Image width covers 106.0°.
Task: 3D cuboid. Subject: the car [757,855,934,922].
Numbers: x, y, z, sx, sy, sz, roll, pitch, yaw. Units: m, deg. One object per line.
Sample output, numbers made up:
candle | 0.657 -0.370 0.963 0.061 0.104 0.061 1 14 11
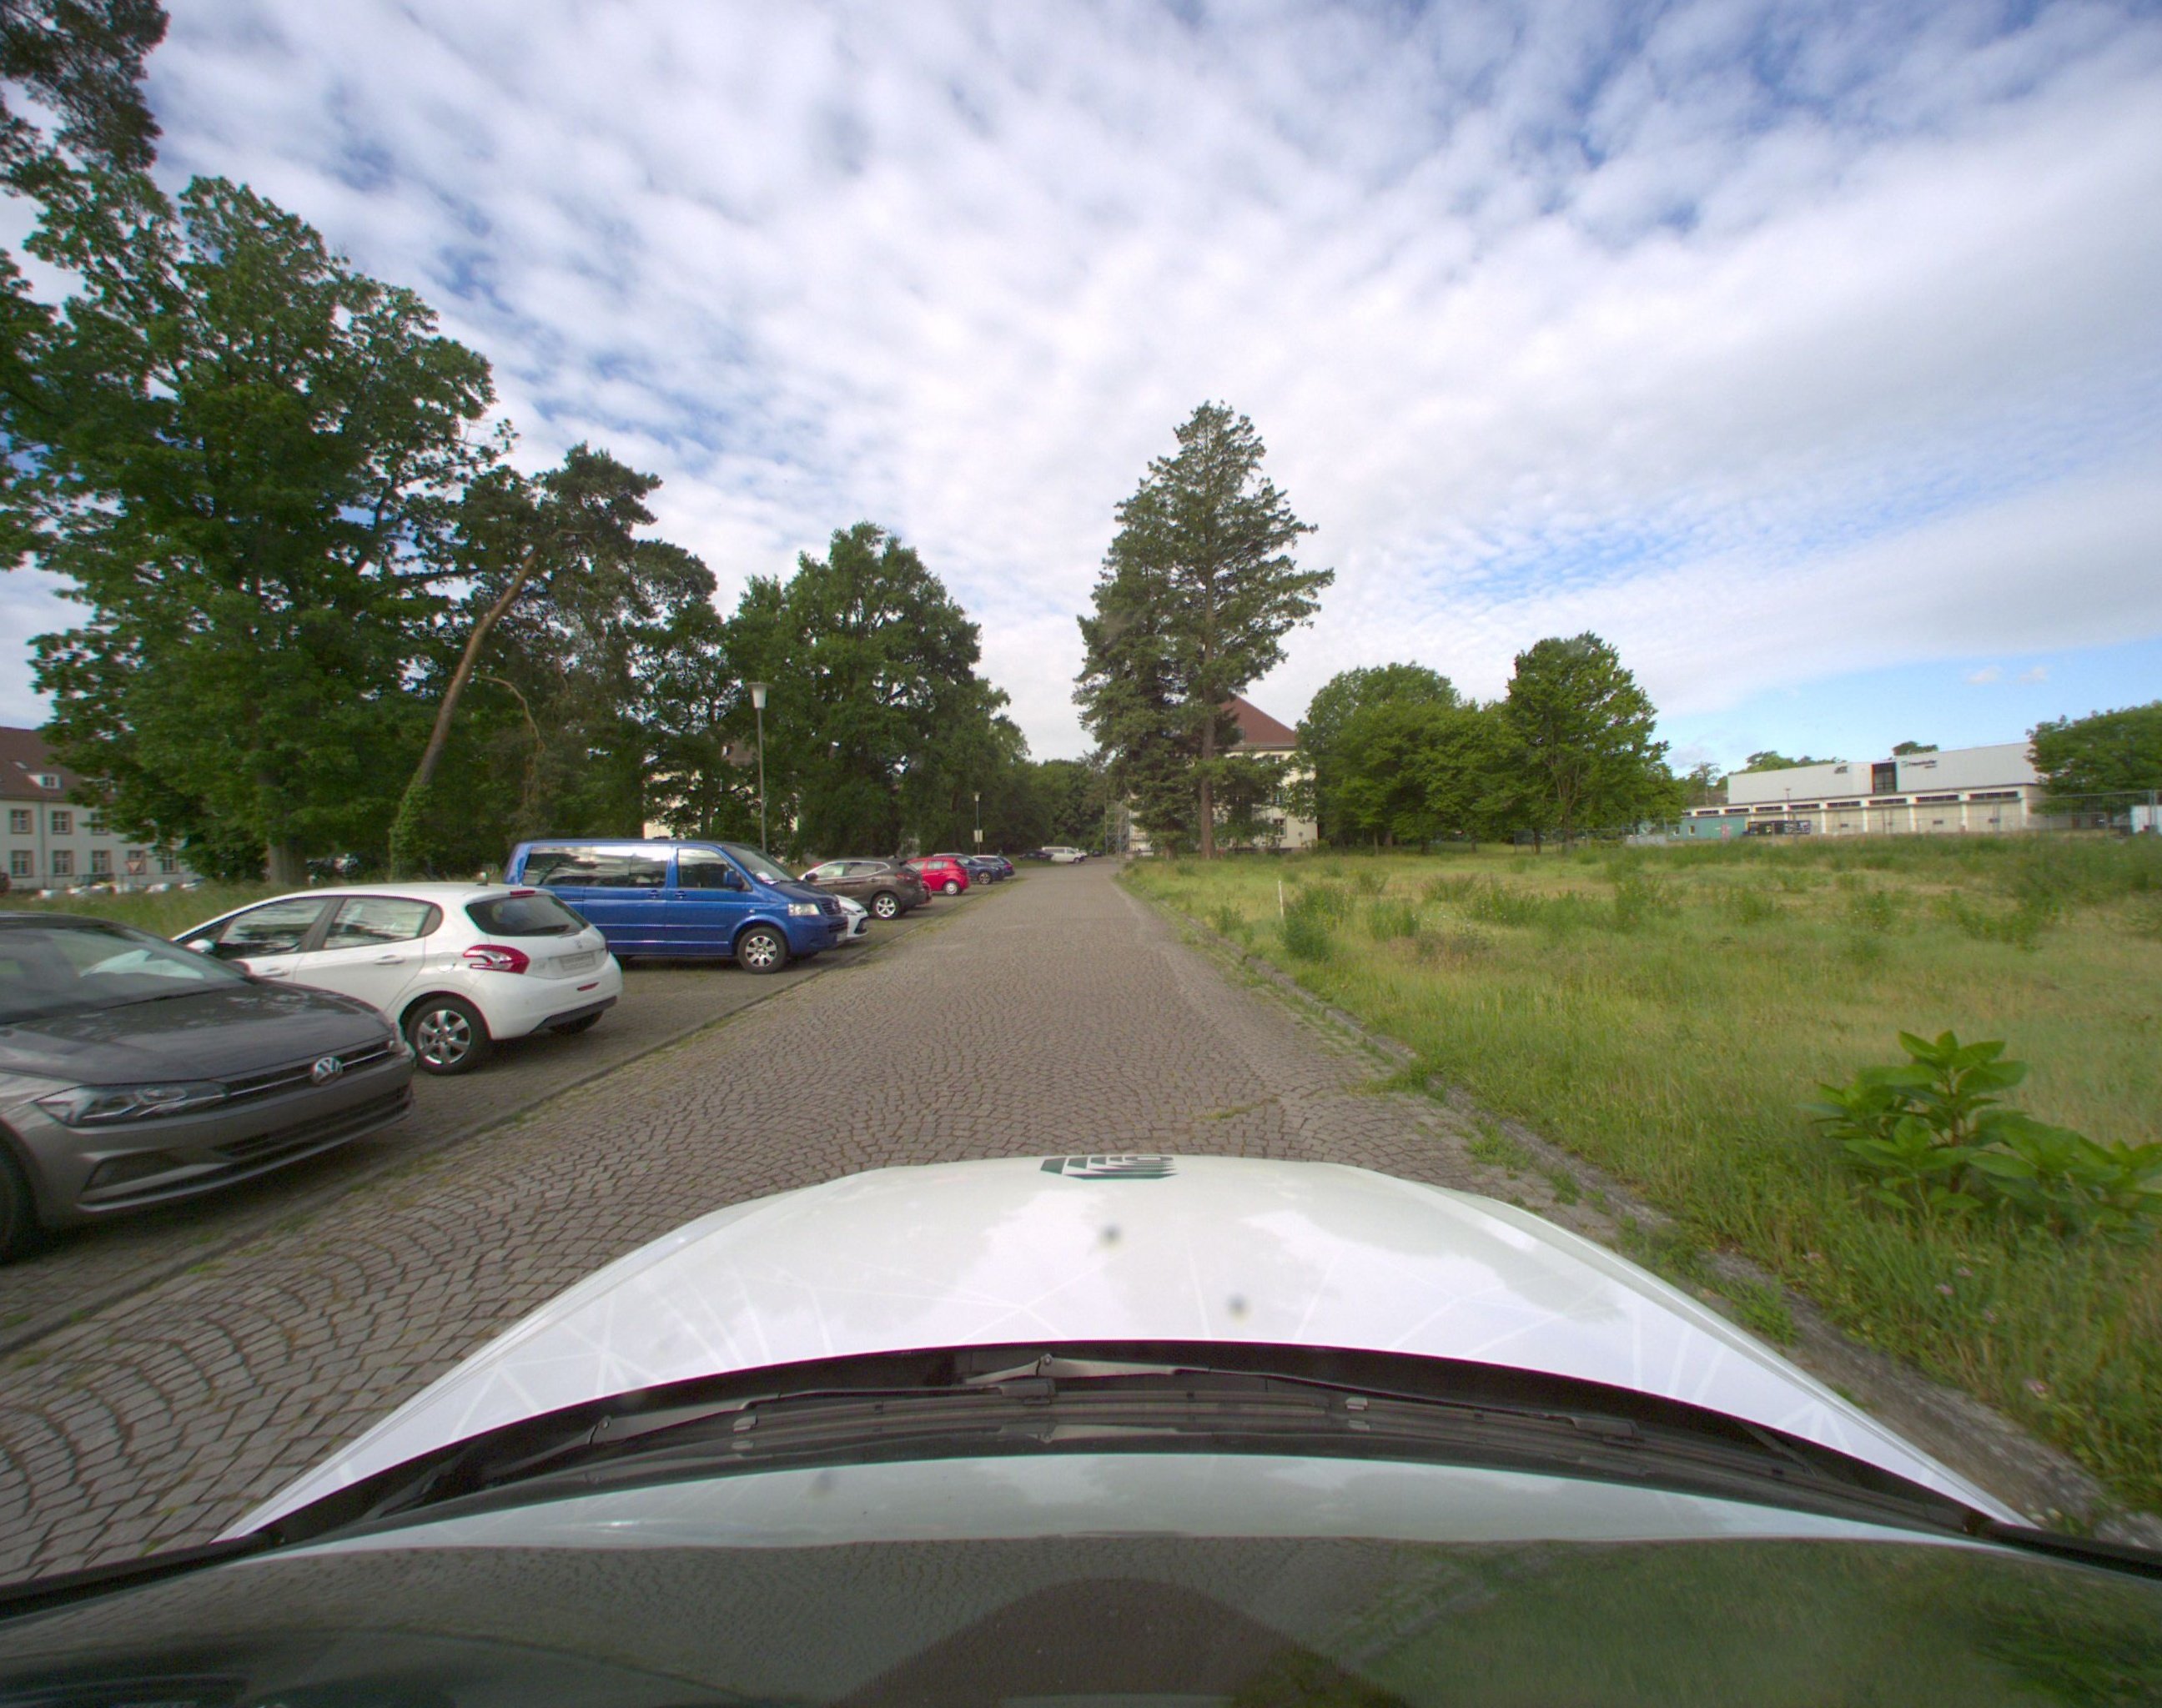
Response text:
car | -6.066 0.864 21.372 4.057 1.575 1.953 -1 0 -2

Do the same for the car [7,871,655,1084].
car | -6.272 0.974 7.200 3.991 1.501 1.843 -1 0 1

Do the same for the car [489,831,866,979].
car | -5.947 0.704 12.503 4.696 1.980 2.037 -1 0 -1

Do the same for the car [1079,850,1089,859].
car | 0.575 0.151 161.714 1.785 1.636 4.058 -2 -1 -2

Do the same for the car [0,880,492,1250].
car | -5.930 0.964 4.339 4.289 1.480 1.731 -1 0 1

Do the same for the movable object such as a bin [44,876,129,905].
movable object such as a bin | -84.589 3.056 69.298 4.486 2.254 2.383 -2 -1 4

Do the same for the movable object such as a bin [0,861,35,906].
movable object such as a bin | -90.446 2.534 67.748 6.068 3.642 2.151 -2 -2 16

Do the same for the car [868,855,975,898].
car | -6.142 0.854 31.684 3.805 1.489 1.787 -1 0 -2

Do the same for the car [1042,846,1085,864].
car | -2.090 0.131 95.648 4.964 2.073 2.050 -1 -1 -2

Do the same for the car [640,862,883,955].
car | -5.779 0.948 15.085 3.784 1.493 1.724 -1 0 -3

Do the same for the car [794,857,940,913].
car | -6.272 0.879 24.156 3.804 1.486 1.761 -1 0 -1

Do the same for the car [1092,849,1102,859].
car | 3.189 0.025 162.068 1.785 1.720 4.058 -2 -1 -2

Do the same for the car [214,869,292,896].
car | -69.185 2.372 68.125 2.055 2.095 4.344 -3 -1 0

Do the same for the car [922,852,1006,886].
car | -5.978 0.742 41.935 4.060 1.604 1.786 -1 0 -2

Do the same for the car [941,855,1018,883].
car | -5.773 0.827 46.634 4.054 1.467 1.627 -1 0 3
